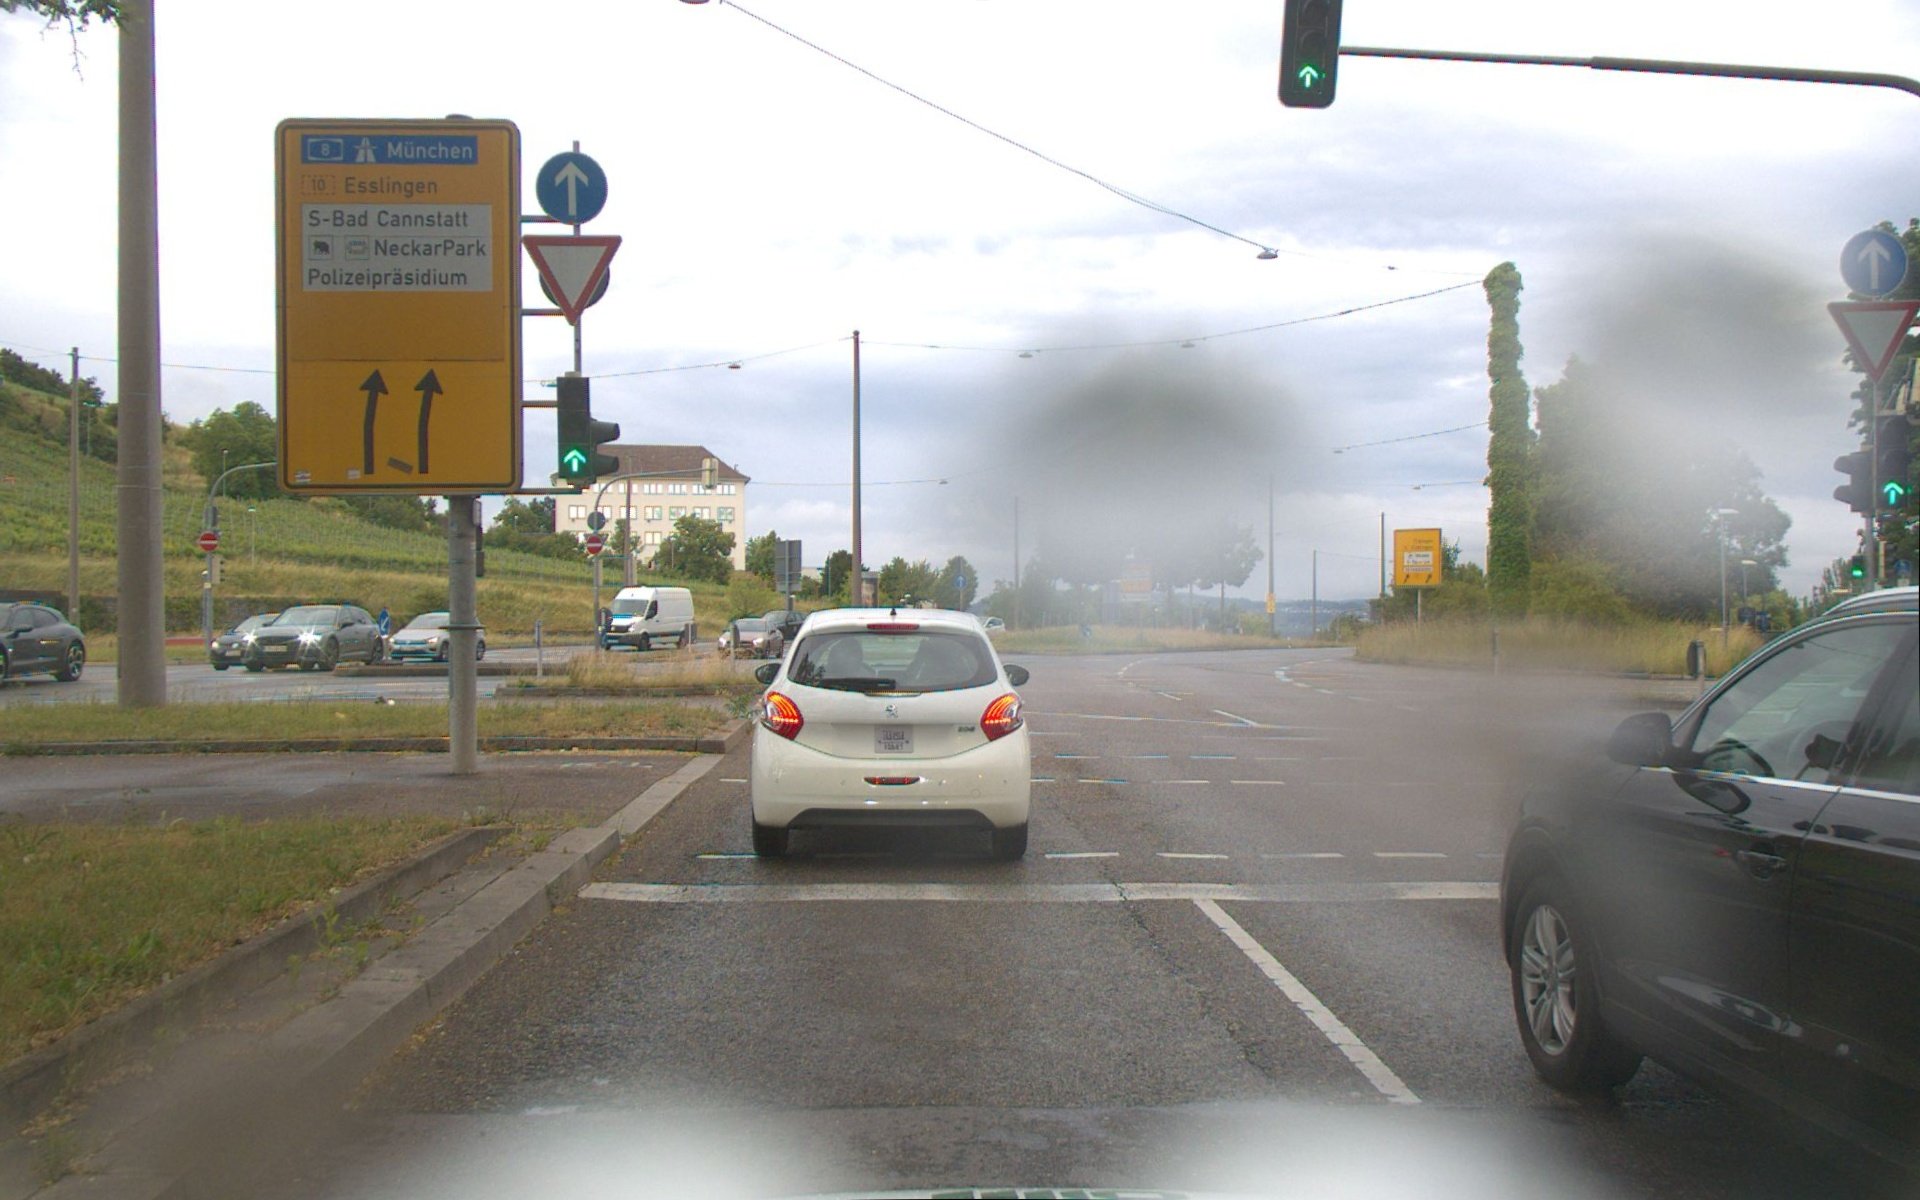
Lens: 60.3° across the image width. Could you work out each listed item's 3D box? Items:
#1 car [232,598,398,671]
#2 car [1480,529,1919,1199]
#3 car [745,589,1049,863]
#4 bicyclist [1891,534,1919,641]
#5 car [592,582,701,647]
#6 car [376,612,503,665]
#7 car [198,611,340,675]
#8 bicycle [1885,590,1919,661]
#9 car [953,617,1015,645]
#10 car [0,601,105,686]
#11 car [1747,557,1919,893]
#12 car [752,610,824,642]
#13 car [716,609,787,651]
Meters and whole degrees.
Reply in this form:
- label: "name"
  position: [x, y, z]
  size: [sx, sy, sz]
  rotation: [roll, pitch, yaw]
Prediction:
- label: "car"
  position: [-14.635, 0.737, 37.817]
  size: [1.862, 1.515, 4.892]
  rotation: [0, 0, 0]
- label: "car"
  position: [2.883, 0.695, 3.934]
  size: [1.846, 1.623, 4.111]
  rotation: [2, -1, -2]
- label: "car"
  position: [-0.413, 0.726, 11.208]
  size: [1.683, 1.515, 3.998]
  rotation: [1, -1, -2]
- label: "bicyclist"
  position: [14.722, -0.175, 25.241]
  size: [0.793, 1.612, 1.022]
  rotation: [1, -1, 25]
- label: "car"
  position: [-13.360, 0.662, 70.952]
  size: [1.951, 2.604, 6.173]
  rotation: [1, -1, 16]
- label: "car"
  position: [-16.816, 1.231, 53.621]
  size: [1.951, 1.603, 4.198]
  rotation: [1, -1, 15]
- label: "car"
  position: [-17.951, 1.082, 43.224]
  size: [1.787, 1.498, 4.667]
  rotation: [0, 0, -1]
- label: "bicycle"
  position: [14.720, 0.384, 25.340]
  size: [0.793, 1.040, 2.326]
  rotation: [-1, -1, 25]
- label: "car"
  position: [1.444, 1.821, 97.557]
  size: [1.721, 1.539, 3.986]
  rotation: [1, -1, 35]
- label: "car"
  position: [-16.938, 0.736, 28.925]
  size: [1.788, 1.386, 4.664]
  rotation: [0, 0, -4]
- label: "car"
  position: [5.863, 0.650, 7.735]
  size: [1.829, 1.703, 4.559]
  rotation: [1, 0, -6]
- label: "car"
  position: [-8.744, 1.333, 84.306]
  size: [1.952, 1.539, 4.232]
  rotation: [1, -1, 20]
- label: "car"
  position: [-7.456, 1.077, 59.614]
  size: [1.738, 1.450, 4.375]
  rotation: [-1, -1, 4]
